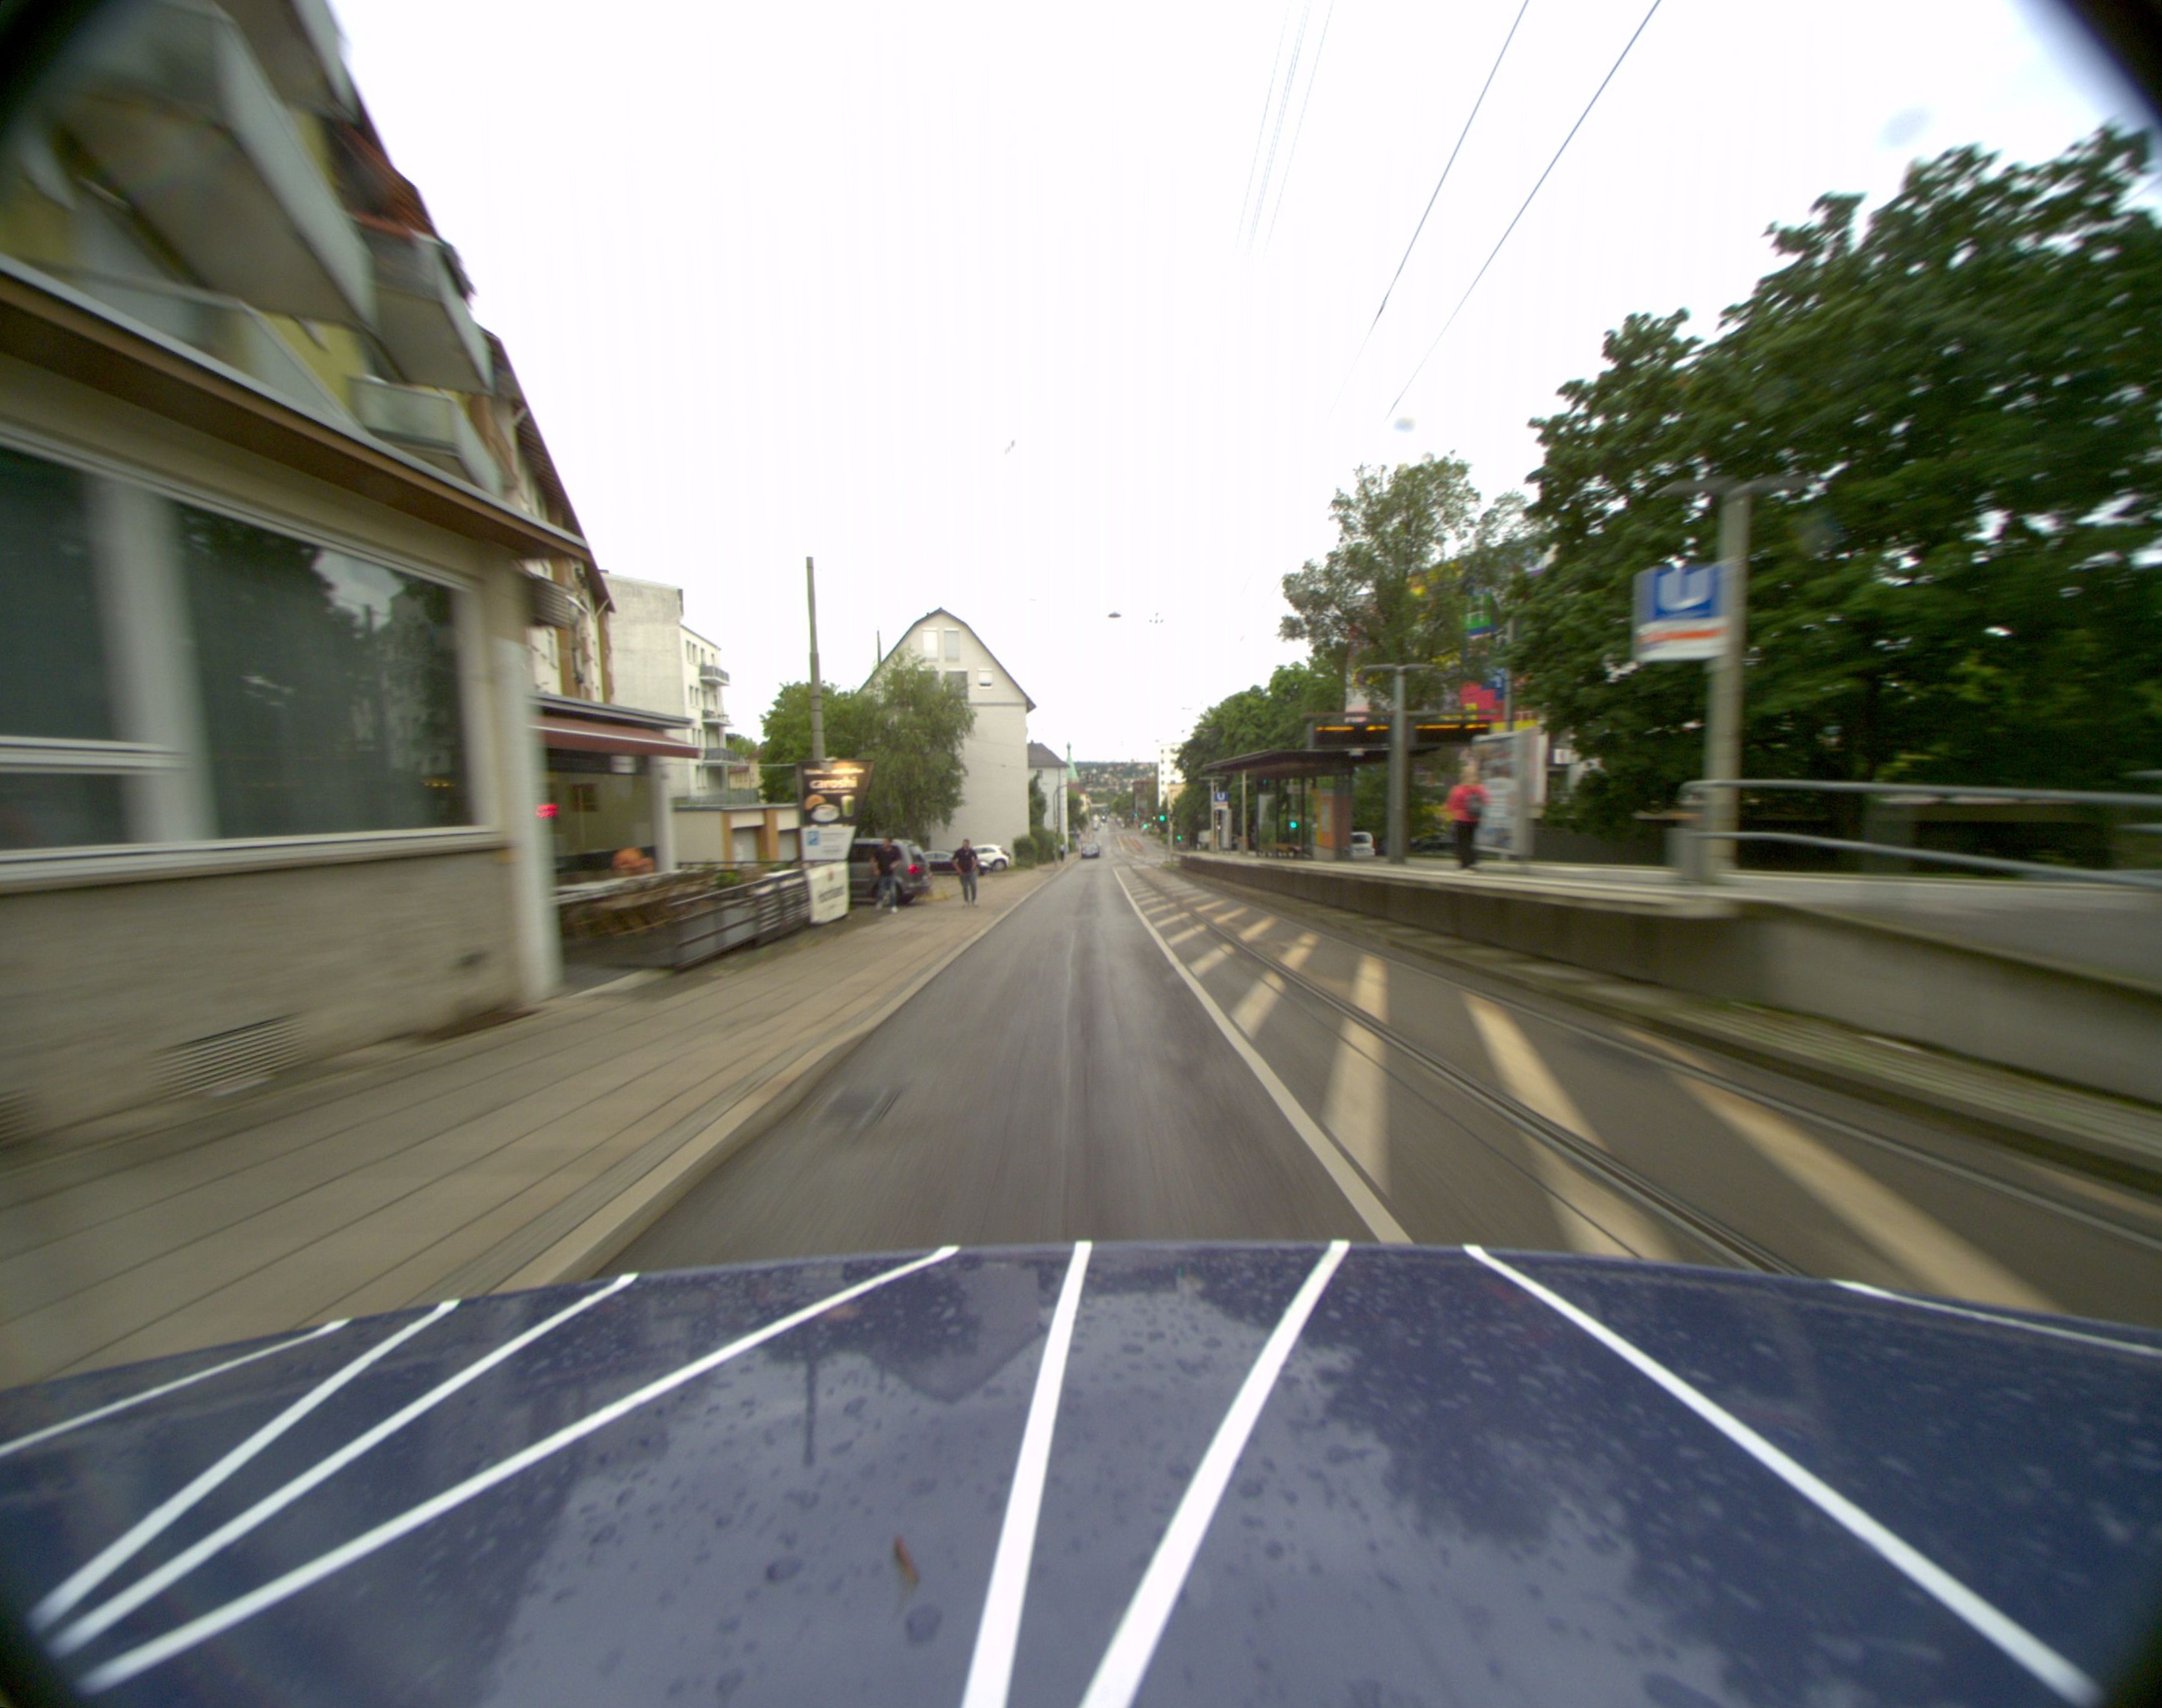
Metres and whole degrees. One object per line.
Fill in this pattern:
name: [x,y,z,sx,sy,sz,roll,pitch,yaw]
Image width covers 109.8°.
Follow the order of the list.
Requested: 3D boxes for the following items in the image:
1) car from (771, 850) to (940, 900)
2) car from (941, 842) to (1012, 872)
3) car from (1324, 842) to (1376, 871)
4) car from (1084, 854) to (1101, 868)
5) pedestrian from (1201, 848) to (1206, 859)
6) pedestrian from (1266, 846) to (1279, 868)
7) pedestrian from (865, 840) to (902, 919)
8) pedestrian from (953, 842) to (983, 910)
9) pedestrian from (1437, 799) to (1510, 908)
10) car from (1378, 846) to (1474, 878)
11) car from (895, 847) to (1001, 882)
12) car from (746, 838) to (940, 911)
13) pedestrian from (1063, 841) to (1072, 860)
car: [-6.788,0.616,23.187,4.580,1.429,1.764,0,2,1]
car: [-6.103,0.145,44.777,3.998,1.460,1.814,-2,7,-4]
car: [17.190,0.125,48.783,1.751,1.707,4.440,-1,1,0]
car: [1.312,0.748,85.198,1.725,1.350,4.000,-2,1,3]
pedestrian: [16.715,-0.048,103.681,0.529,1.418,0.528,-3,2,3]
pedestrian: [14.100,0.198,55.850,0.754,1.584,0.617,-3,2,3]
pedestrian: [-4.393,0.550,16.956,0.580,1.704,0.614,-3,2,-3]
pedestrian: [-2.847,0.542,19.195,0.721,1.704,0.608,0,1,-5]
pedestrian: [5.754,-0.004,11.175,0.672,1.539,0.771,-1,1,0]
car: [17.914,0.407,39.684,4.483,1.534,1.948,-1,1,22]
car: [-6.746,0.516,38.885,4.943,1.429,1.974,-3,2,2]
car: [-5.982,0.484,19.425,4.338,1.664,1.781,1,0,3]
pedestrian: [-1.193,-0.324,65.539,0.657,1.611,0.630,-1,2,7]
